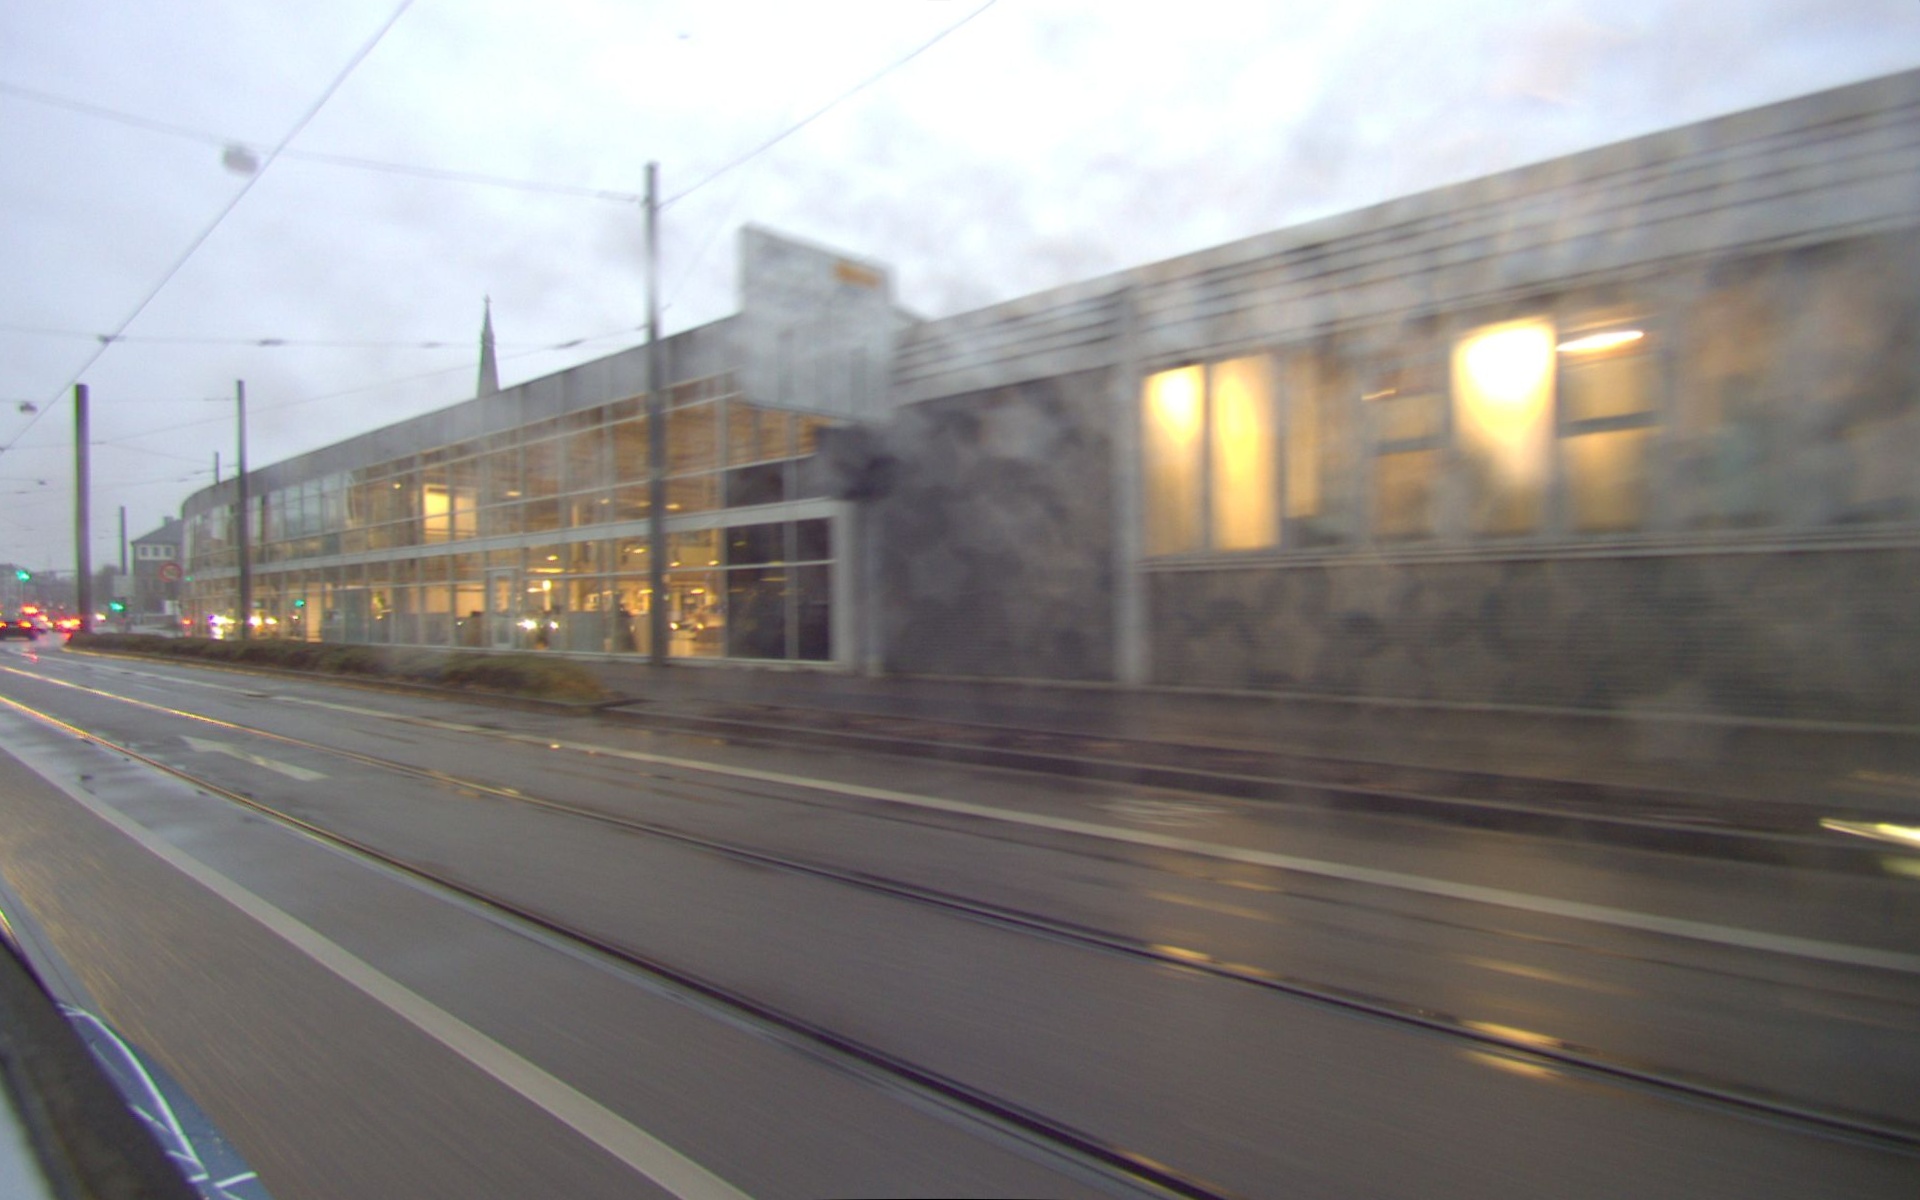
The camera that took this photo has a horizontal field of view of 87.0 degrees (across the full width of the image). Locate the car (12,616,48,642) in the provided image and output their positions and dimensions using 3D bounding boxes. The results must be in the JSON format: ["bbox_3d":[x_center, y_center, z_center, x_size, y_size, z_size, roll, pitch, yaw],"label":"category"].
[{"bbox_3d":[-78.054,2.431,84.881,4.687,2.029,1.971,-1,1,45],"label":"car"}]

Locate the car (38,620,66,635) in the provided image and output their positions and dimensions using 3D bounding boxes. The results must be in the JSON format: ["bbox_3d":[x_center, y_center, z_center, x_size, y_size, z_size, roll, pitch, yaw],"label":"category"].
[{"bbox_3d":[-88.733,2.665,98.918,4.000,1.368,1.705,-1,0,43],"label":"car"}]

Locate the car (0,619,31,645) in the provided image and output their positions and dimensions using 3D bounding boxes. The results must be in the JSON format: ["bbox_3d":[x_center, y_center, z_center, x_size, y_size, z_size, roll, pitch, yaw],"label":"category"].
[{"bbox_3d":[-61.542,2.031,65.460,4.442,1.590,1.821,-1,-1,43],"label":"car"}]

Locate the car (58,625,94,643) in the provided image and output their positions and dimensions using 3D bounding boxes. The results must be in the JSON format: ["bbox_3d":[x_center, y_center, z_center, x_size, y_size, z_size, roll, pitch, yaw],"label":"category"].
[{"bbox_3d":[-77.824,3.001,89.093,4.589,1.432,1.971,-1,0,44],"label":"car"}]
